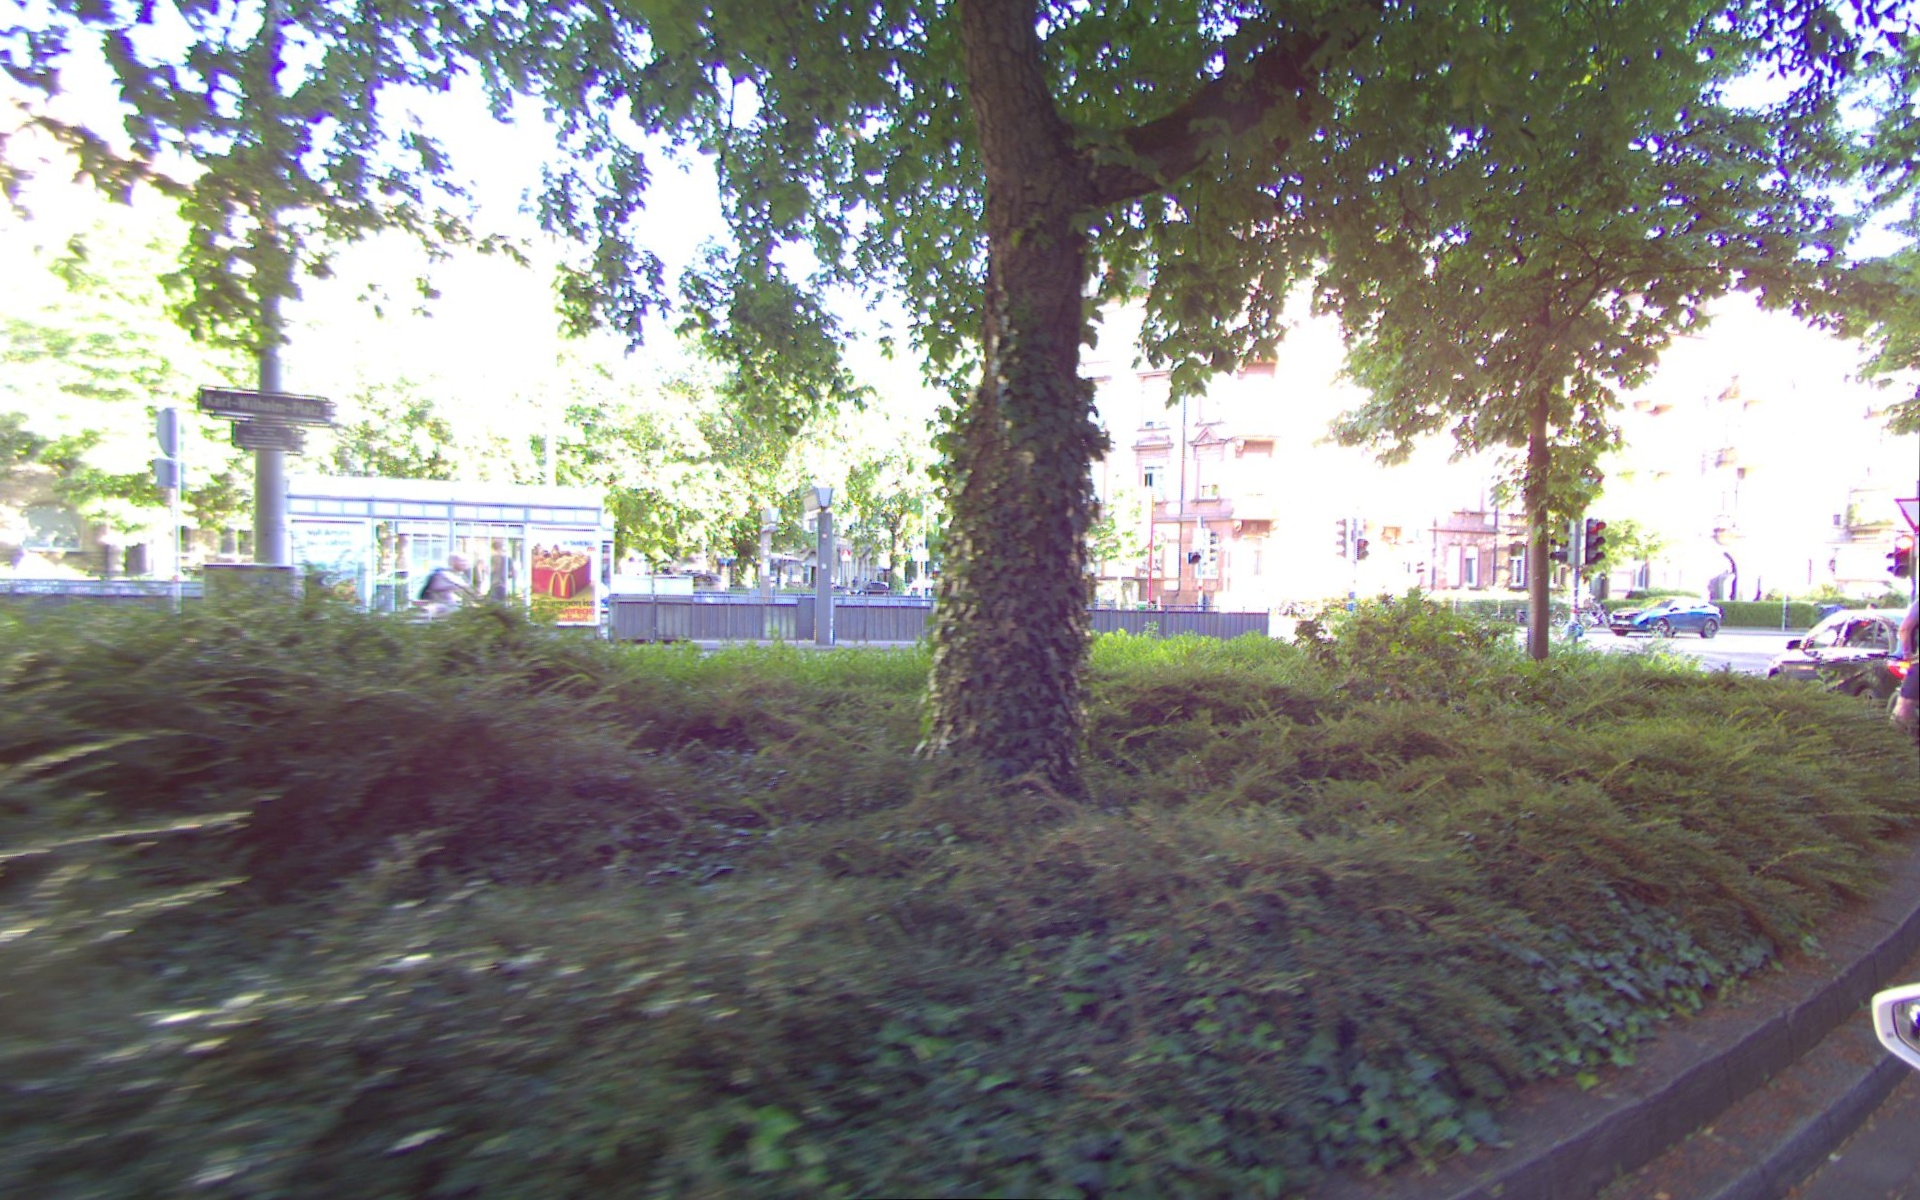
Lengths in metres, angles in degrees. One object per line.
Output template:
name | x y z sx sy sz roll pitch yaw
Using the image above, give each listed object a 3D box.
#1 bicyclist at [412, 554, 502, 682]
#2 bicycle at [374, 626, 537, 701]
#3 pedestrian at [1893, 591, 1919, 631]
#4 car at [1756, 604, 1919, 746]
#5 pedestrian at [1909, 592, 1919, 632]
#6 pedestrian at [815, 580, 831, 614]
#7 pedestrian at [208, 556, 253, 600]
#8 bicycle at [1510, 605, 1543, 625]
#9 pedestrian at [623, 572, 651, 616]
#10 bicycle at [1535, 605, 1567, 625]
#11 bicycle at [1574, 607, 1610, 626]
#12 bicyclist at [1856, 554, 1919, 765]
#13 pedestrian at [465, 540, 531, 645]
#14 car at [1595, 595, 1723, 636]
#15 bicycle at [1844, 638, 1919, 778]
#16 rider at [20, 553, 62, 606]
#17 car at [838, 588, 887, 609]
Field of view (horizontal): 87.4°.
bicyclist | -7.083 0.247 14.190 1.031 1.739 0.693 1 1 -18
bicycle | -7.072 0.875 14.184 1.951 0.971 0.767 1 1 -19
pedestrian | 48.572 0.574 51.031 1.366 1.988 1.156 1 1 -21
car | 11.860 0.828 12.654 1.783 1.564 3.957 0 0 21
pedestrian | 48.303 0.612 49.870 1.366 1.988 1.156 1 1 -21
pedestrian | -8.252 -0.167 60.509 0.790 2.041 0.568 0 2 -34
pedestrian | -33.281 -0.998 45.842 1.243 1.937 1.484 2 2 45
bicycle | 26.053 0.681 46.203 1.200 0.873 0.450 1 1 -1
pedestrian | -12.019 -0.242 37.376 0.797 1.564 0.819 3 1 -7
bicycle | 27.234 0.673 46.302 1.200 0.873 0.450 1 1 -1
bicycle | 29.553 0.766 46.979 1.418 0.873 0.450 1 1 -1
bicyclist | 9.311 0.548 9.551 0.837 1.924 1.138 1 1 25
pedestrian | -8.722 -0.141 18.993 1.004 1.923 0.909 1 1 -18
car | 28.548 0.633 41.071 4.302 1.516 1.993 1 1 -16
bicycle | 9.344 1.008 9.777 0.588 1.177 2.039 2 1 27
rider | -30.662 -0.669 33.524 0.805 1.704 0.671 4 1 14
car | -7.867 -0.114 81.366 1.737 1.629 3.986 2 1 35
